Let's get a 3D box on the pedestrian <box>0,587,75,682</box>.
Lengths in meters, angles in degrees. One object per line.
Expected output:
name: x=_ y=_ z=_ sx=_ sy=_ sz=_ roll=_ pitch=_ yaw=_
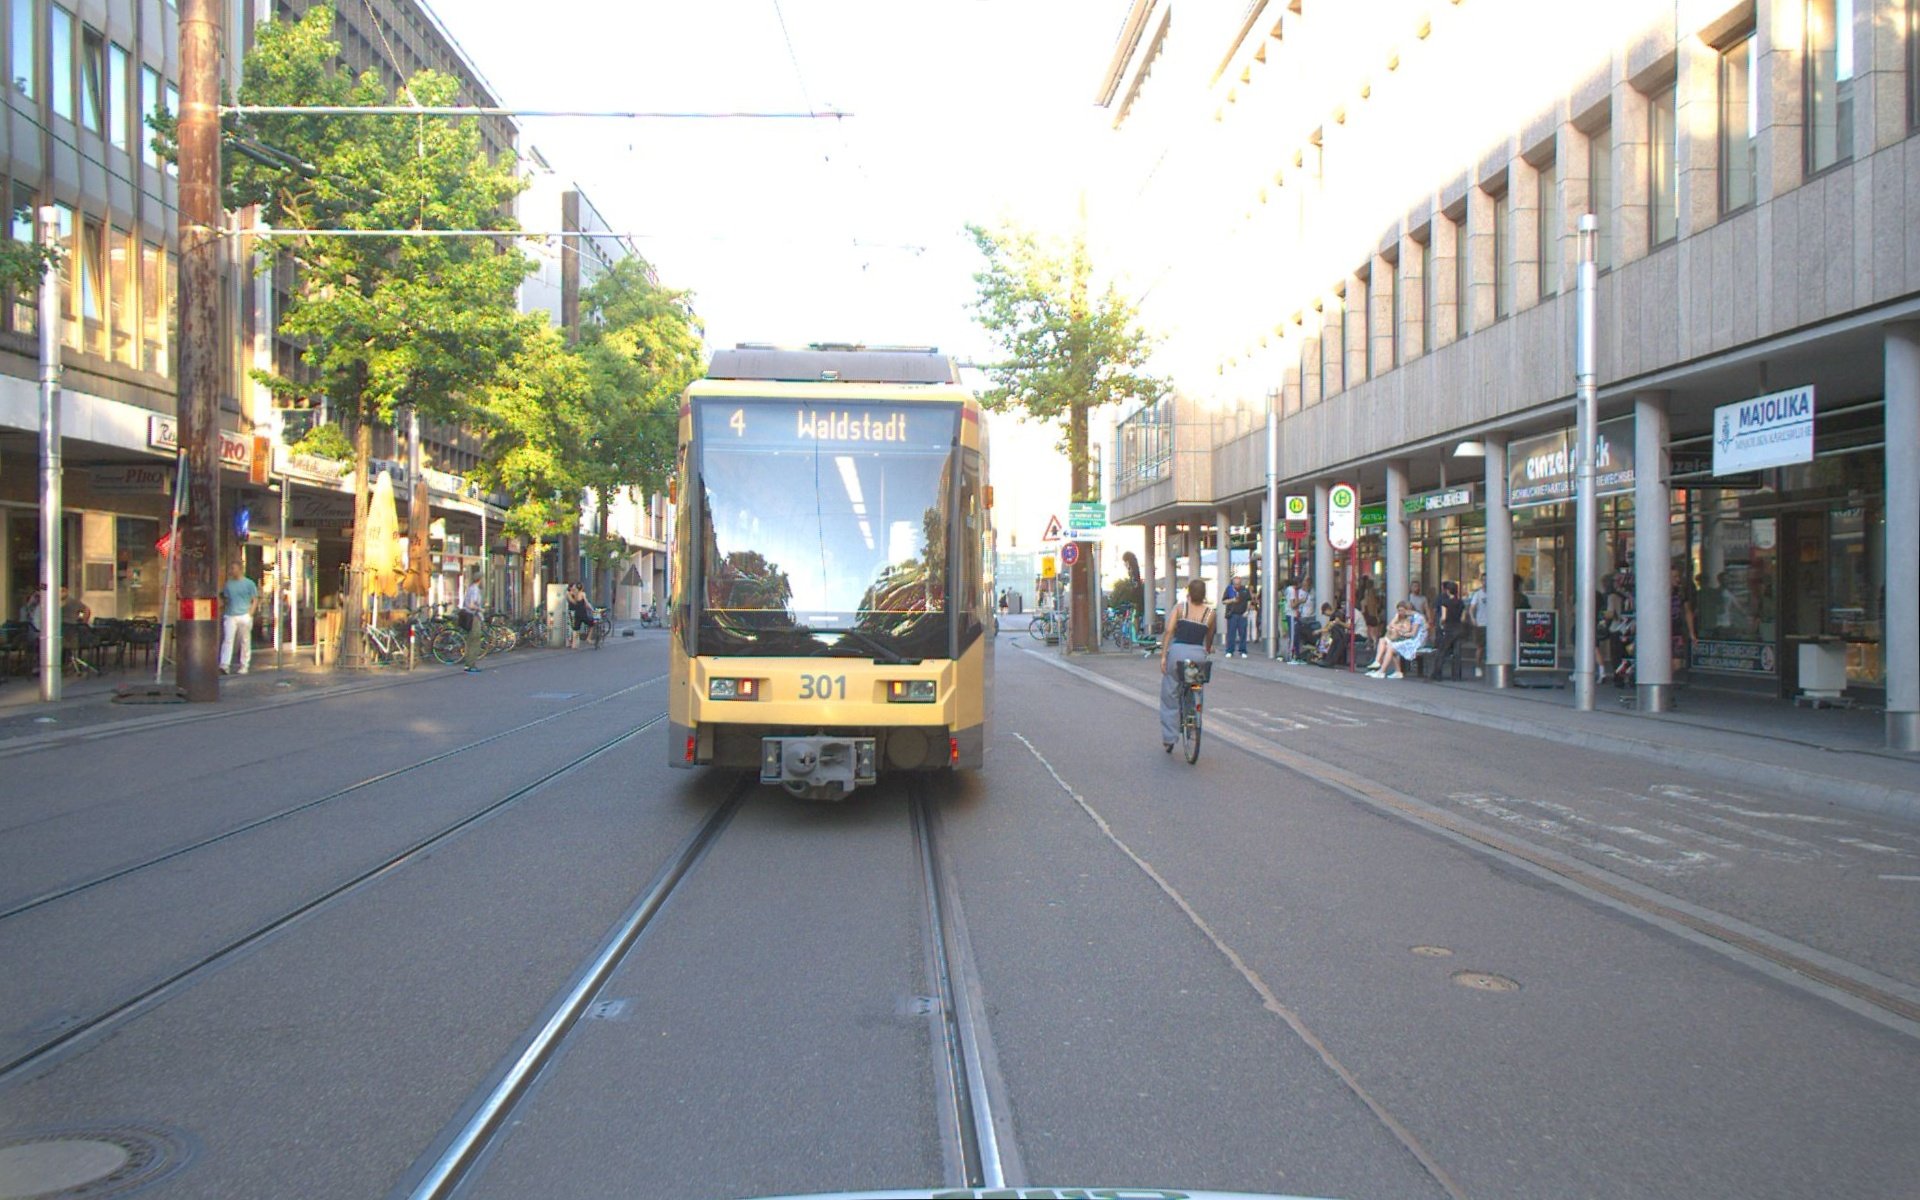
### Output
pedestrian: x=-13.639 y=0.504 z=24.403 sx=0.657 sy=1.349 sz=0.911 roll=2 pitch=-1 yaw=-4

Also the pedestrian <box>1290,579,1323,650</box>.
pedestrian: x=8.407 y=0.343 z=40.142 sx=0.635 sy=1.690 sz=0.650 roll=-1 pitch=0 yaw=-2

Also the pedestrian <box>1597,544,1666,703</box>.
pedestrian: x=8.511 y=0.297 z=20.986 sx=0.566 sy=1.978 sz=0.655 roll=-1 pitch=0 yaw=-2

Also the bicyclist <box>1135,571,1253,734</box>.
bicyclist: x=2.273 y=0.499 z=16.190 sx=0.977 sy=1.528 sz=0.857 roll=2 pitch=0 yaw=-2

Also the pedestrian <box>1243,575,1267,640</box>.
pedestrian: x=8.456 y=0.221 z=47.382 sx=0.528 sy=1.838 sz=0.604 roll=-1 pitch=0 yaw=-3

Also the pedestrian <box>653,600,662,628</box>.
pedestrian: x=-17.312 y=0.805 z=94.649 sx=0.499 sy=1.574 sz=0.516 roll=0 pitch=-1 yaw=-10

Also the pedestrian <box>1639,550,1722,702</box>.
pedestrian: x=9.364 y=0.331 z=21.529 sx=0.692 sy=1.922 sz=0.796 roll=-1 pitch=0 yaw=-2

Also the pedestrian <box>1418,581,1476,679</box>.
pedestrian: x=8.042 y=0.488 z=27.319 sx=0.709 sy=1.597 sz=0.736 roll=-1 pitch=0 yaw=-1

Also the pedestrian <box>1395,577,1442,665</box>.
pedestrian: x=8.970 y=0.400 z=32.362 sx=0.673 sy=1.690 sz=0.722 roll=-1 pitch=0 yaw=-1

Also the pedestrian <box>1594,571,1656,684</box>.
pedestrian: x=10.145 y=0.414 z=25.253 sx=0.635 sy=1.690 sz=0.680 roll=-1 pitch=0 yaw=-1

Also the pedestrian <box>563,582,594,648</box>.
pedestrian: x=-10.115 y=0.388 z=43.859 sx=0.589 sy=1.729 sz=0.535 roll=1 pitch=0 yaw=27

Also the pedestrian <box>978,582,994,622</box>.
pedestrian: x=1.153 y=0.099 z=73.388 sx=0.703 sy=1.756 sz=0.709 roll=0 pitch=-1 yaw=-2

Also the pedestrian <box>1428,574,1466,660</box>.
pedestrian: x=10.119 y=0.351 z=34.348 sx=0.559 sy=1.762 sz=0.617 roll=-1 pitch=0 yaw=-3

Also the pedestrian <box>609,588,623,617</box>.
pedestrian: x=-20.567 y=0.157 z=98.828 sx=0.699 sy=1.756 sz=0.709 roll=0 pitch=-1 yaw=-4

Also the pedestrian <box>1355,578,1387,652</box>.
pedestrian: x=9.916 y=0.363 z=39.917 sx=0.559 sy=1.762 sz=0.617 roll=-1 pitch=0 yaw=-3

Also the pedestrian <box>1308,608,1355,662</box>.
pedestrian: x=7.416 y=0.701 z=33.015 sx=0.796 sy=1.061 sz=0.544 roll=1 pitch=0 yaw=-1

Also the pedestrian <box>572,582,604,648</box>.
pedestrian: x=-9.762 y=0.390 z=43.396 sx=0.589 sy=1.729 sz=0.535 roll=1 pitch=0 yaw=27

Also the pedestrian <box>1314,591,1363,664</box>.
pedestrian: x=7.381 y=0.537 z=32.276 sx=0.796 sy=1.405 sz=0.662 roll=1 pitch=0 yaw=-1

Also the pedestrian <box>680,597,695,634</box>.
pedestrian: x=-11.304 y=0.650 z=68.674 sx=0.592 sy=1.520 sz=0.554 roll=0 pitch=-1 yaw=-10

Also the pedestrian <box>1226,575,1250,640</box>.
pedestrian: x=7.913 y=0.215 z=47.170 sx=0.528 sy=1.838 sz=0.604 roll=-1 pitch=0 yaw=-3

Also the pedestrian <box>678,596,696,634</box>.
pedestrian: x=-11.475 y=0.618 z=69.414 sx=0.673 sy=1.569 sz=0.602 roll=0 pitch=-1 yaw=-17

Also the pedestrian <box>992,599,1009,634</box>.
pedestrian: x=2.174 y=0.881 z=89.369 sx=0.722 sy=1.855 sz=0.816 roll=0 pitch=0 yaw=-17

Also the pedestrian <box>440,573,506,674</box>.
pedestrian: x=-8.946 y=0.427 z=30.361 sx=0.816 sy=1.824 sz=0.975 roll=1 pitch=-1 yaw=-43

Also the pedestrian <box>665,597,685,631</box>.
pedestrian: x=-12.448 y=0.607 z=72.229 sx=0.544 sy=1.459 sz=0.683 roll=-1 pitch=-1 yaw=35

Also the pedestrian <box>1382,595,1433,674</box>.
pedestrian: x=7.654 y=0.585 z=28.301 sx=0.703 sy=1.337 sz=0.524 roll=1 pitch=0 yaw=-1

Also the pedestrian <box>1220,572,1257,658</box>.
pedestrian: x=6.197 y=0.335 z=36.802 sx=0.655 sy=1.872 sz=0.708 roll=-1 pitch=0 yaw=-3

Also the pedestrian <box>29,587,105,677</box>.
pedestrian: x=-13.807 y=0.490 z=25.591 sx=0.657 sy=1.349 sz=0.911 roll=2 pitch=-1 yaw=-4

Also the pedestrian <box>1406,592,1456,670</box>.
pedestrian: x=8.251 y=0.539 z=28.988 sx=0.703 sy=1.337 sz=0.532 roll=1 pitch=0 yaw=-1

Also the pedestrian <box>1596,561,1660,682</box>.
pedestrian: x=10.839 y=0.339 z=26.850 sx=0.673 sy=1.915 sz=0.773 roll=-1 pitch=0 yaw=-3

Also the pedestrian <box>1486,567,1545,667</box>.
pedestrian: x=10.163 y=0.308 z=30.278 sx=0.757 sy=1.803 sz=0.773 roll=-1 pitch=0 yaw=-3

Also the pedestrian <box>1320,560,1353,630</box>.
pedestrian: x=9.883 y=-0.123 z=43.448 sx=0.649 sy=1.818 sz=0.719 roll=-1 pitch=0 yaw=-2

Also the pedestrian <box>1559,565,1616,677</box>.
pedestrian: x=10.187 y=0.331 z=26.868 sx=0.570 sy=1.783 sz=0.773 roll=-1 pitch=0 yaw=-3

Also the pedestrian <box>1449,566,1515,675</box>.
pedestrian: x=9.021 y=0.351 z=28.627 sx=0.827 sy=1.829 sz=0.858 roll=-1 pitch=0 yaw=-2

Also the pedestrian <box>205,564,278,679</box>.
pedestrian: x=-11.802 y=0.347 z=27.189 sx=0.670 sy=1.824 sz=0.990 roll=2 pitch=-1 yaw=0

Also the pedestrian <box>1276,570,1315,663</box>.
pedestrian: x=6.857 y=0.329 z=33.808 sx=0.626 sy=1.872 sz=0.667 roll=-1 pitch=0 yaw=-1

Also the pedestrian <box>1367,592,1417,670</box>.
pedestrian: x=7.531 y=0.529 z=28.845 sx=0.703 sy=1.337 sz=0.532 roll=1 pitch=0 yaw=-1
